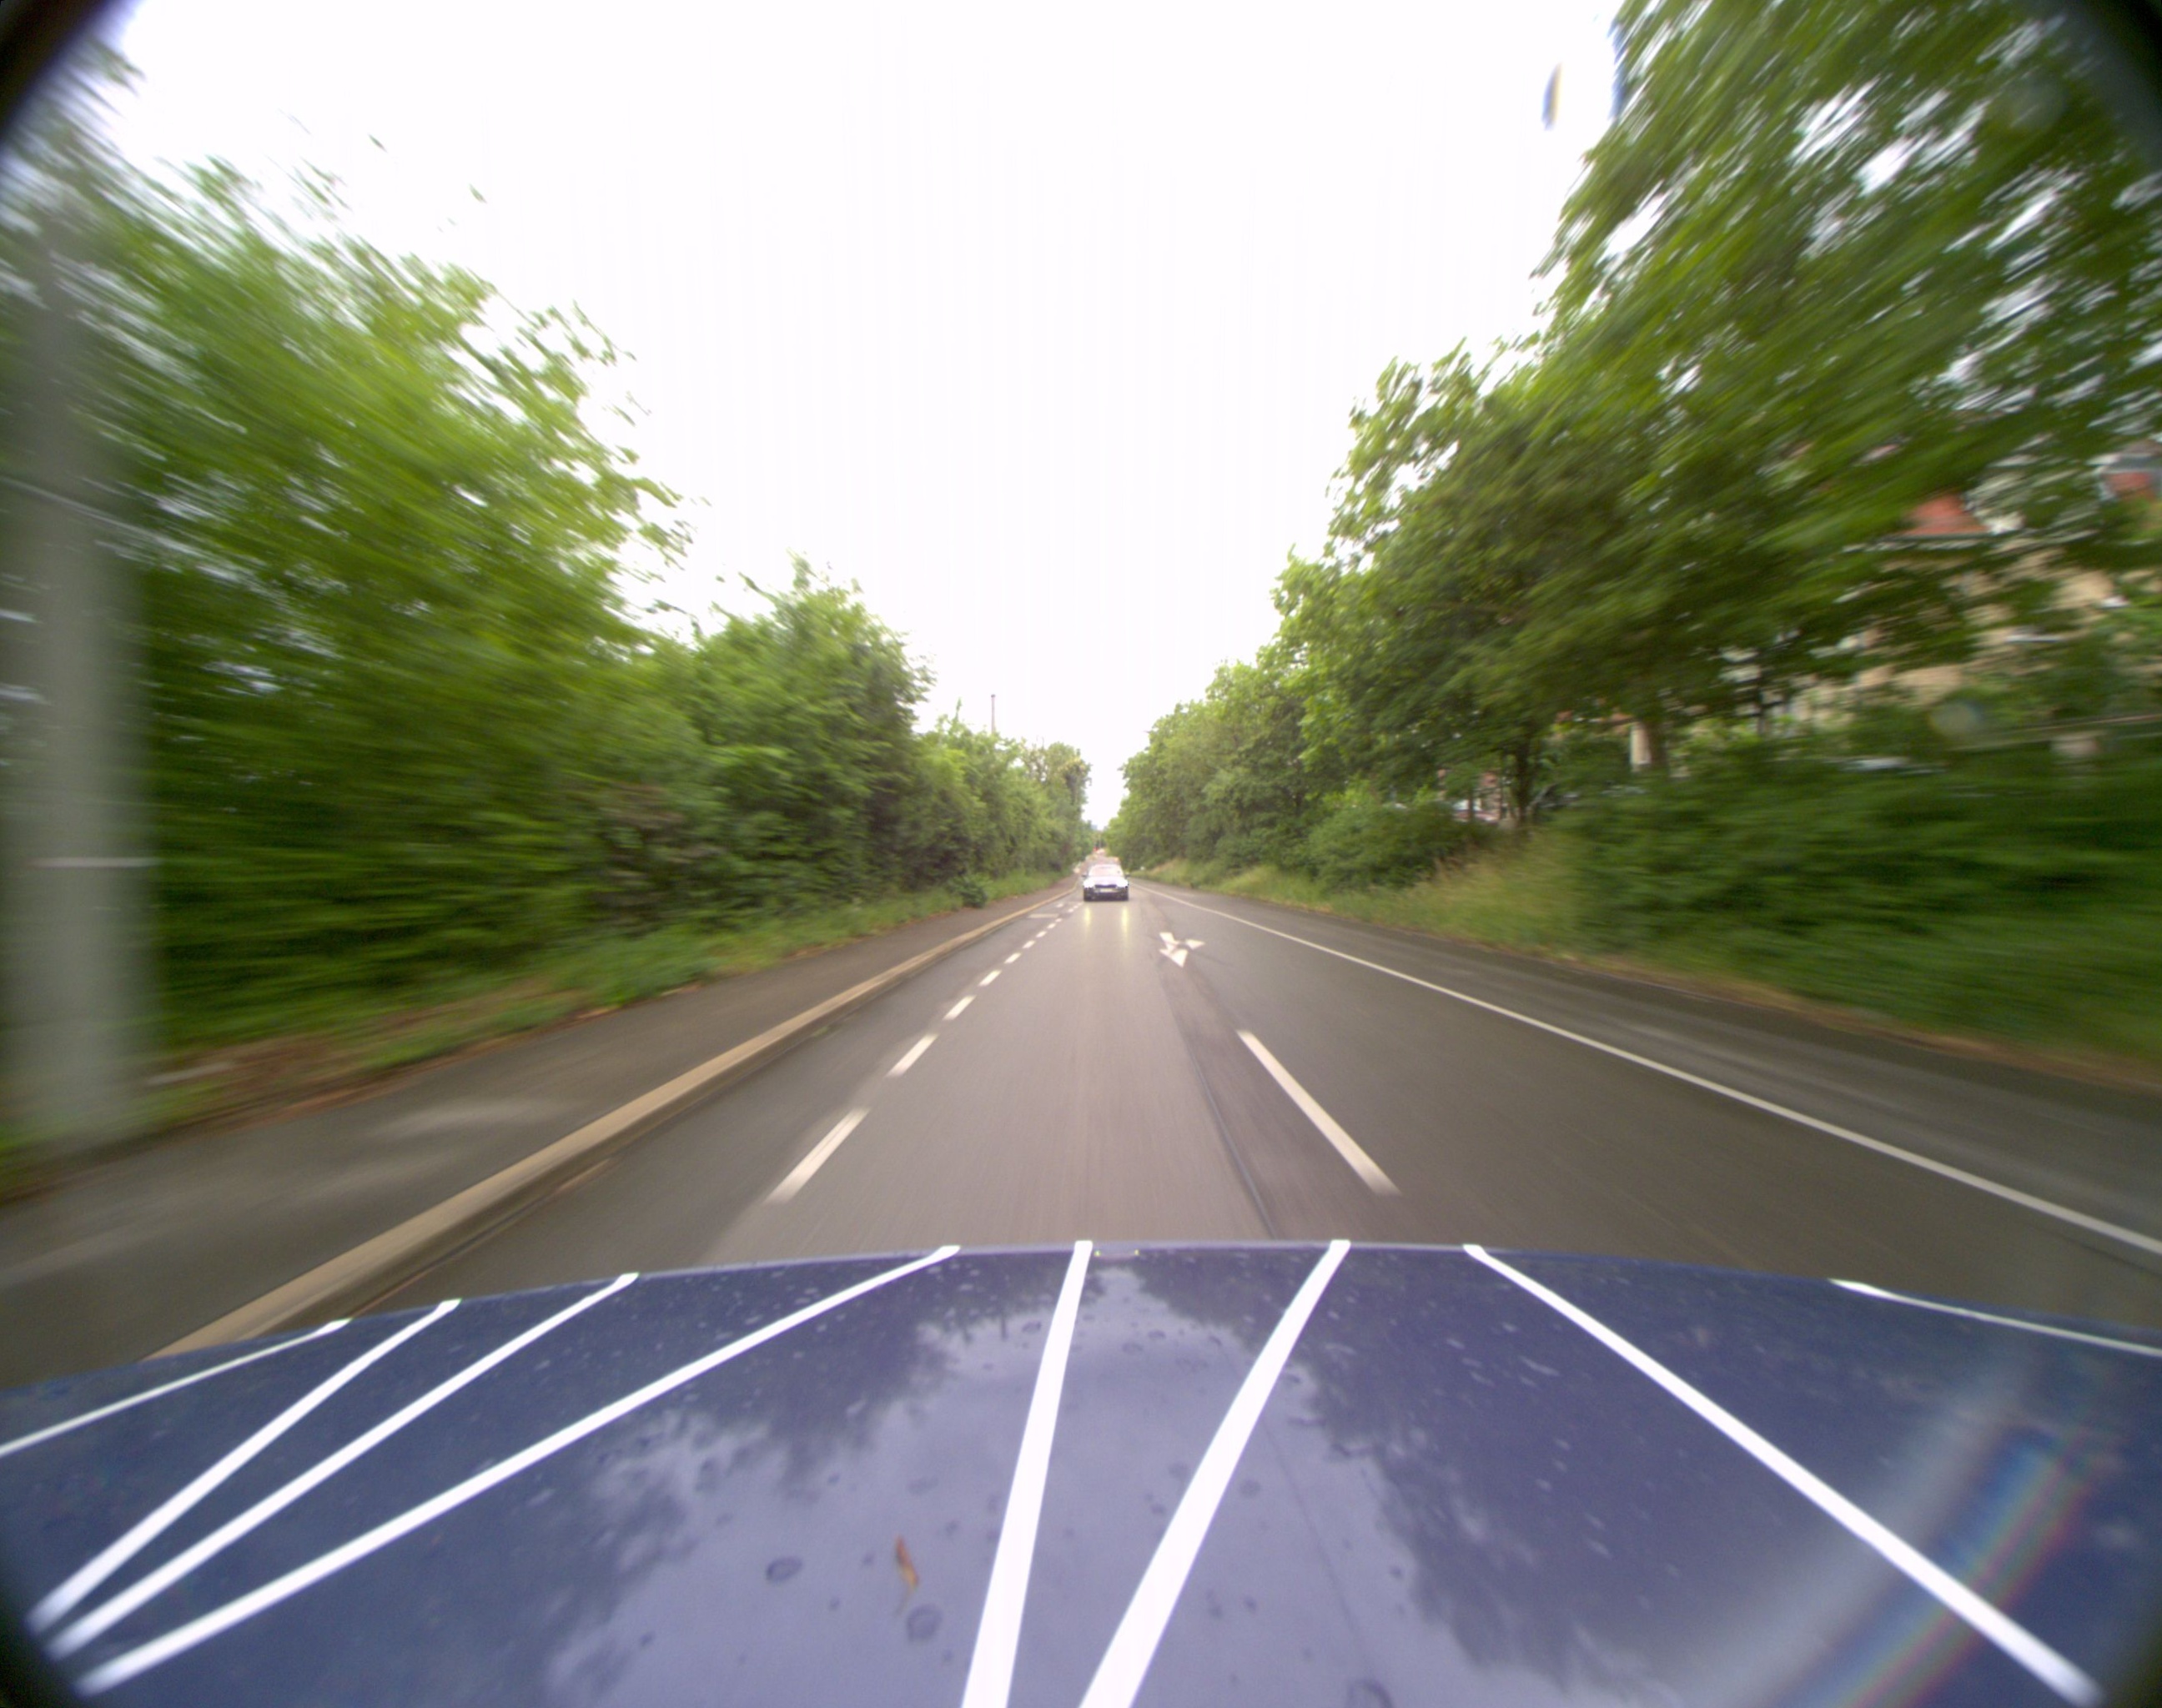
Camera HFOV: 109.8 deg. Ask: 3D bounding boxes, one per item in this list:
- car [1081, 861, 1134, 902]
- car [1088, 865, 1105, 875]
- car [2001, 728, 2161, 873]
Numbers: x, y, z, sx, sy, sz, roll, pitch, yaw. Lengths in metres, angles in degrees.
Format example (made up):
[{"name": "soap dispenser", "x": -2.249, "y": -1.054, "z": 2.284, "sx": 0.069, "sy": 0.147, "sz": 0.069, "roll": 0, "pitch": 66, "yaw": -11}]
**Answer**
[{"name": "car", "x": 1.020, "y": 1.058, "z": 30.975, "sx": 1.981, "sy": 1.497, "sz": 4.000, "roll": -2, "pitch": 0, "yaw": 0}, {"name": "car", "x": 2.333, "y": 2.414, "z": 113.860, "sx": 1.999, "sy": 1.433, "sz": 3.998, "roll": -2, "pitch": 0, "yaw": -6}, {"name": "car", "x": 12.400, "y": -0.611, "z": 7.218, "sx": 1.834, "sy": 1.548, "sz": 4.629, "roll": -2, "pitch": 0, "yaw": 3}]
